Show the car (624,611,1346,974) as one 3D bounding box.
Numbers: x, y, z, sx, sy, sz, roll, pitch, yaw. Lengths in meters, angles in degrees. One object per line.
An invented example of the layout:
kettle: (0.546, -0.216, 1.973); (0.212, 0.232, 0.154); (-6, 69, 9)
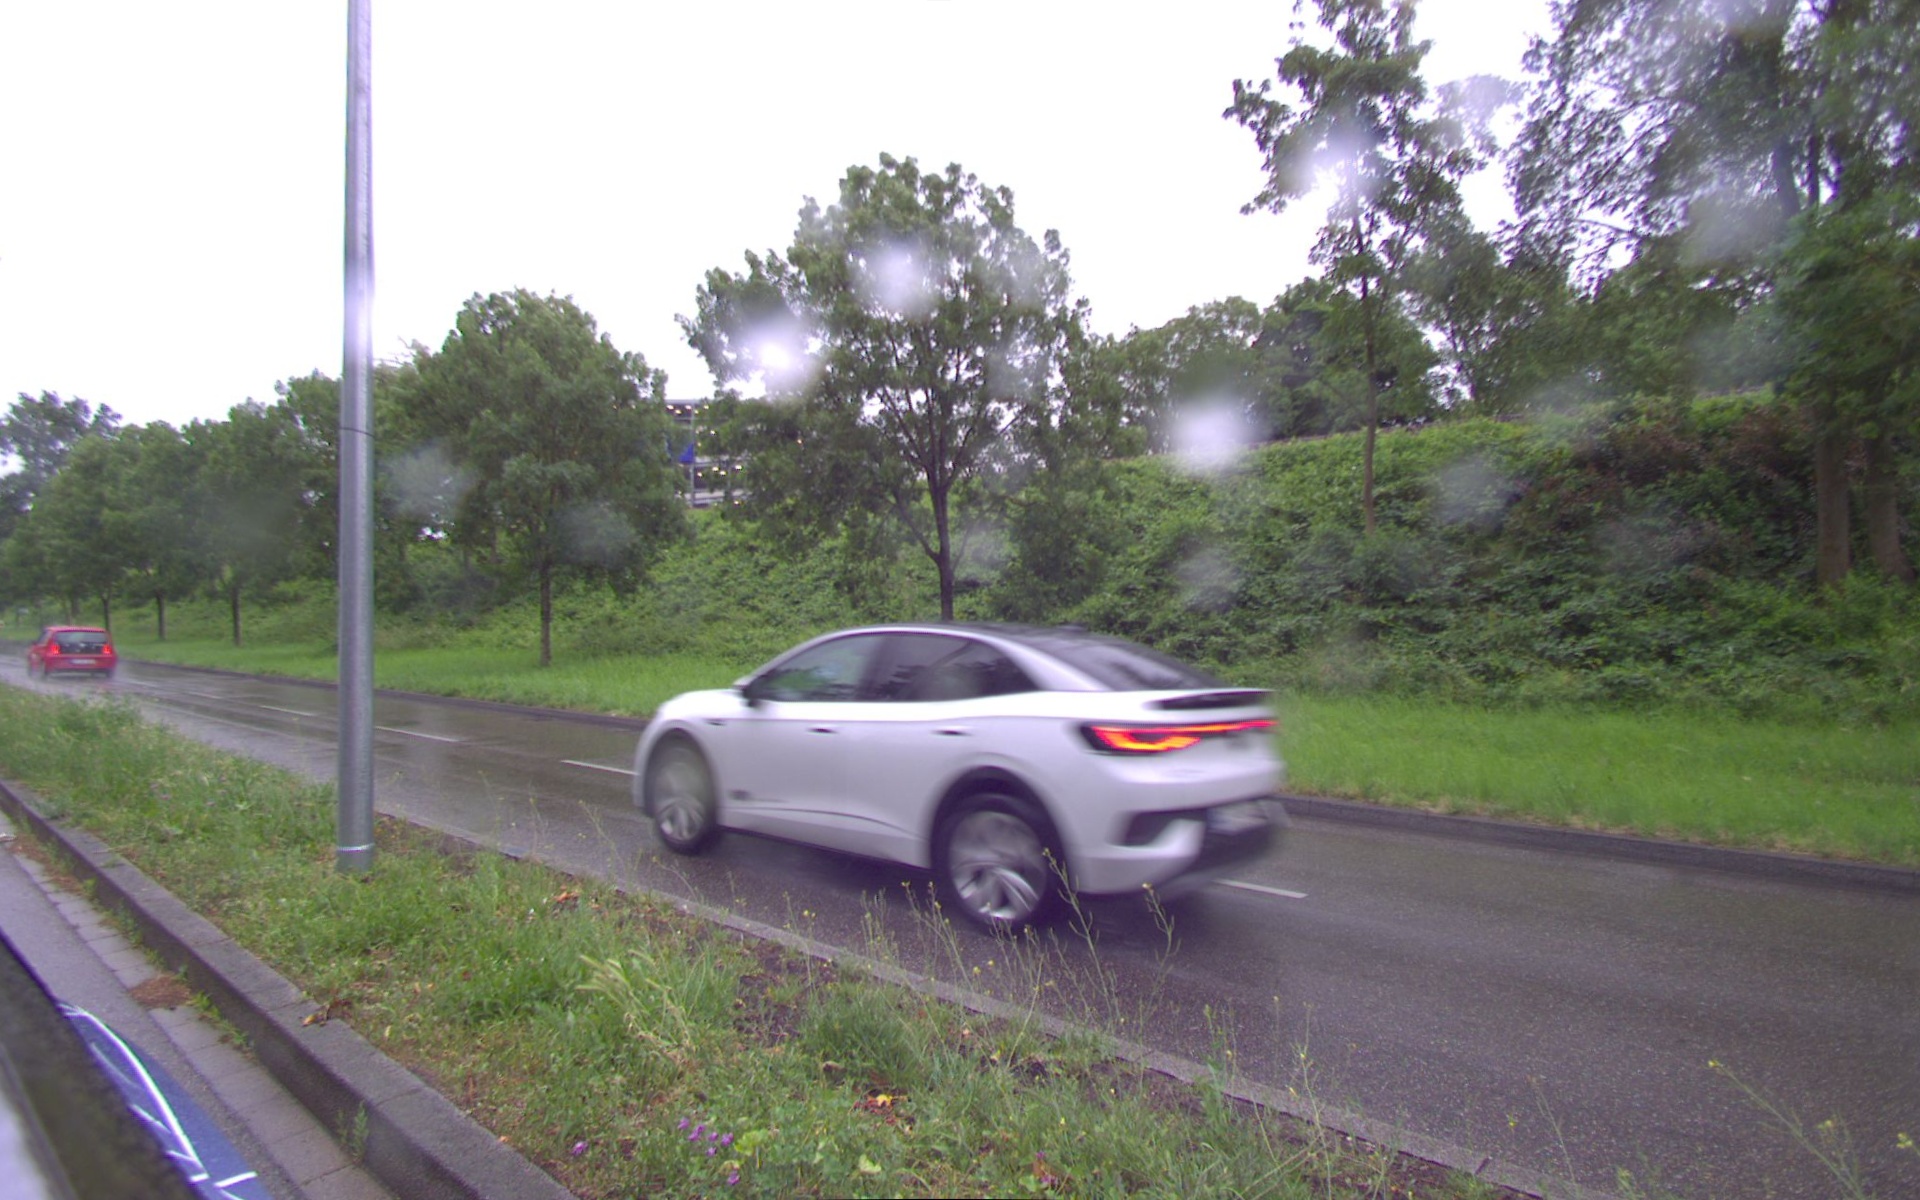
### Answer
car: (-0.063, 0.916, 6.454); (4.330, 1.537, 1.943); (-2, -4, 39)

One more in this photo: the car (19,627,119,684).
car: (-25.664, 1.582, 29.122); (3.613, 1.525, 1.697); (-2, -4, 42)
